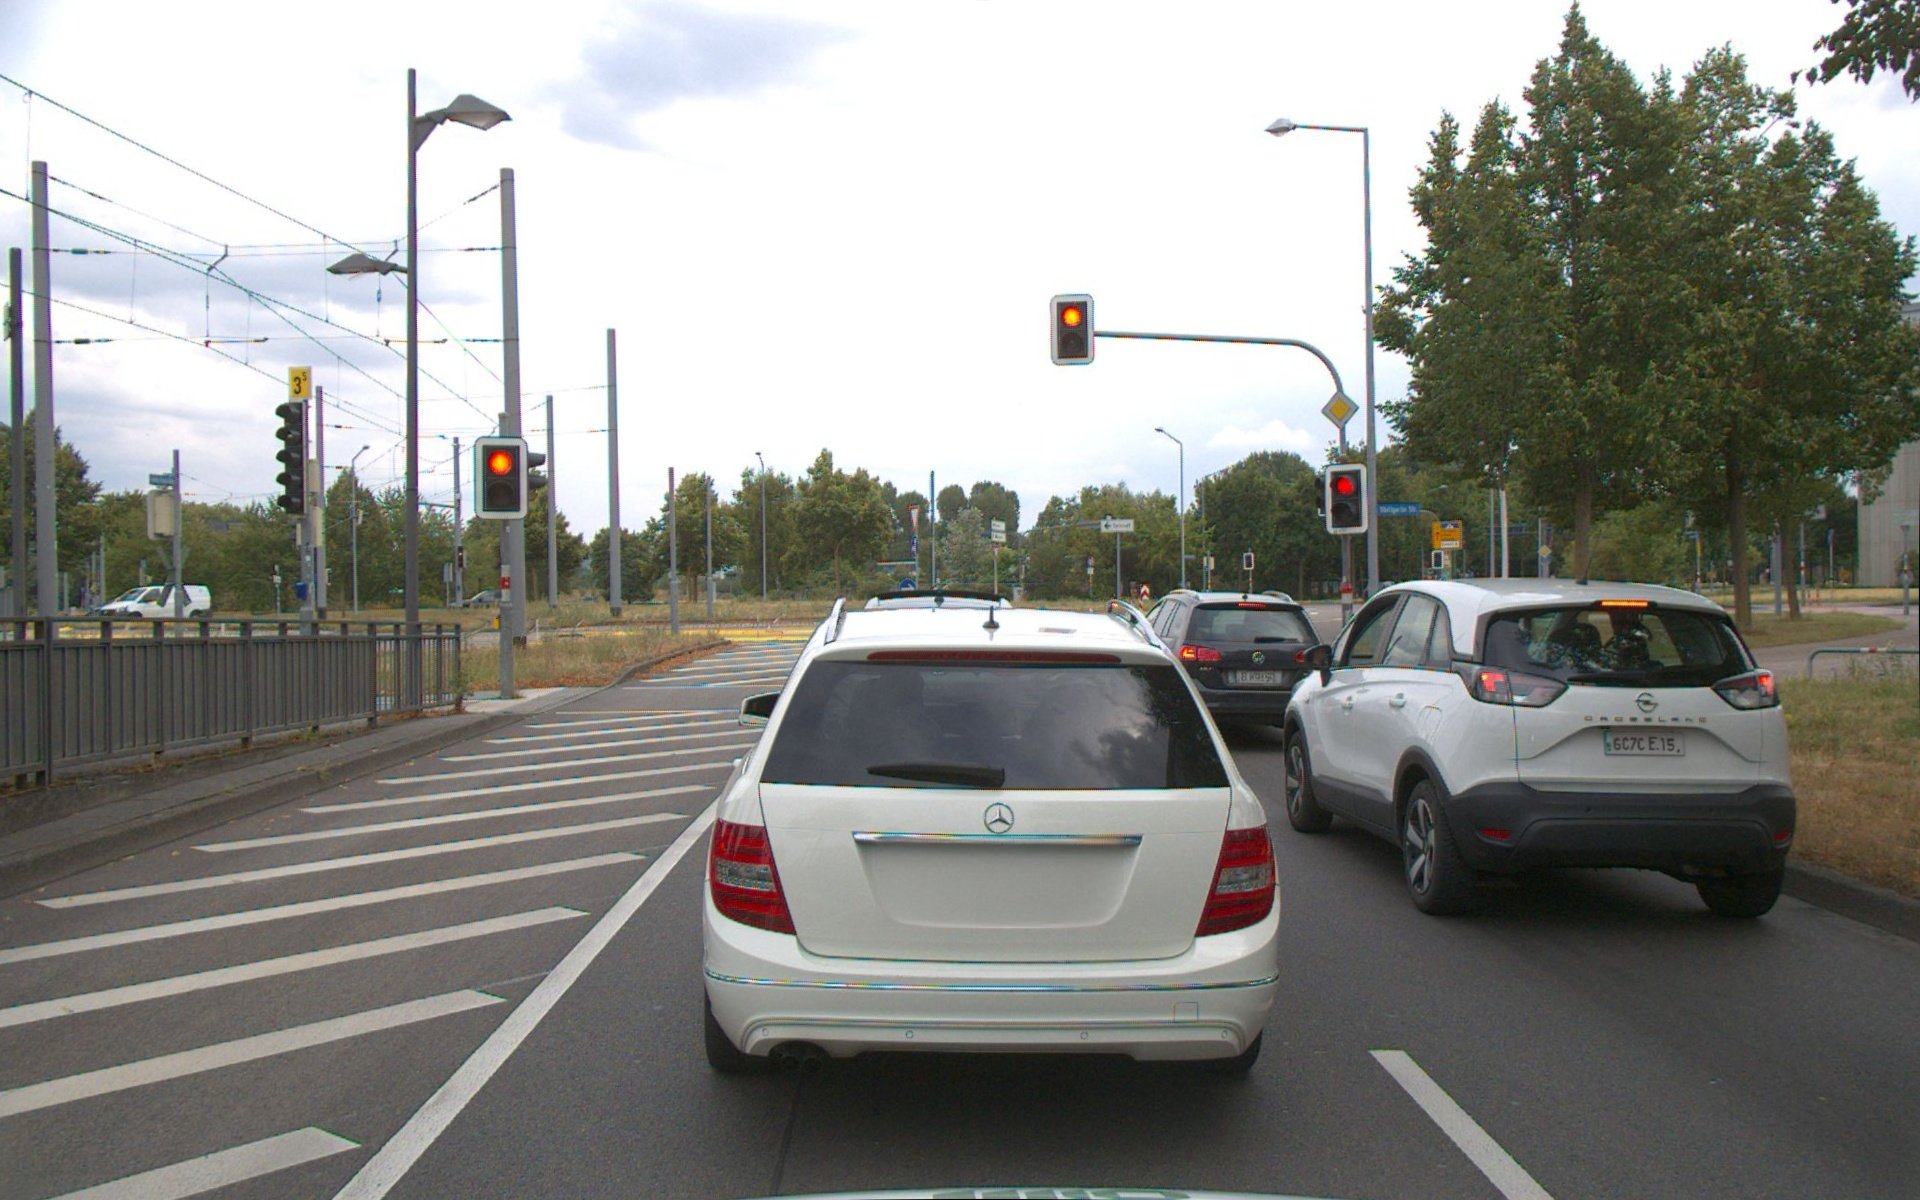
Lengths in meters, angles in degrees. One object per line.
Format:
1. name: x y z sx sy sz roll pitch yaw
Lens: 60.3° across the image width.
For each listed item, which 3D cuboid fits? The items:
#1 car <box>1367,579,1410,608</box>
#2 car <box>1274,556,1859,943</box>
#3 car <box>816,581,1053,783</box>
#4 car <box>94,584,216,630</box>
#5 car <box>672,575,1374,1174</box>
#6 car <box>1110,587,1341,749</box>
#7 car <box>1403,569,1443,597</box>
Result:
1. car: 28.664 -0.404 110.558 1.954 1.822 3.996 1 0 26
2. car: 3.010 0.631 9.146 1.751 1.653 3.910 -1 0 -1
3. car: -0.275 0.592 14.137 1.738 1.474 3.908 1 0 -3
4. car: -37.965 0.322 78.100 1.955 2.049 4.993 0 1 28
5. car: 0.077 0.666 6.070 1.738 1.474 3.908 1 0 -3
6. car: 2.626 0.614 17.174 1.592 1.474 3.908 1 0 -3
7. car: 28.626 -1.065 102.110 1.747 1.664 4.400 -1 1 24
